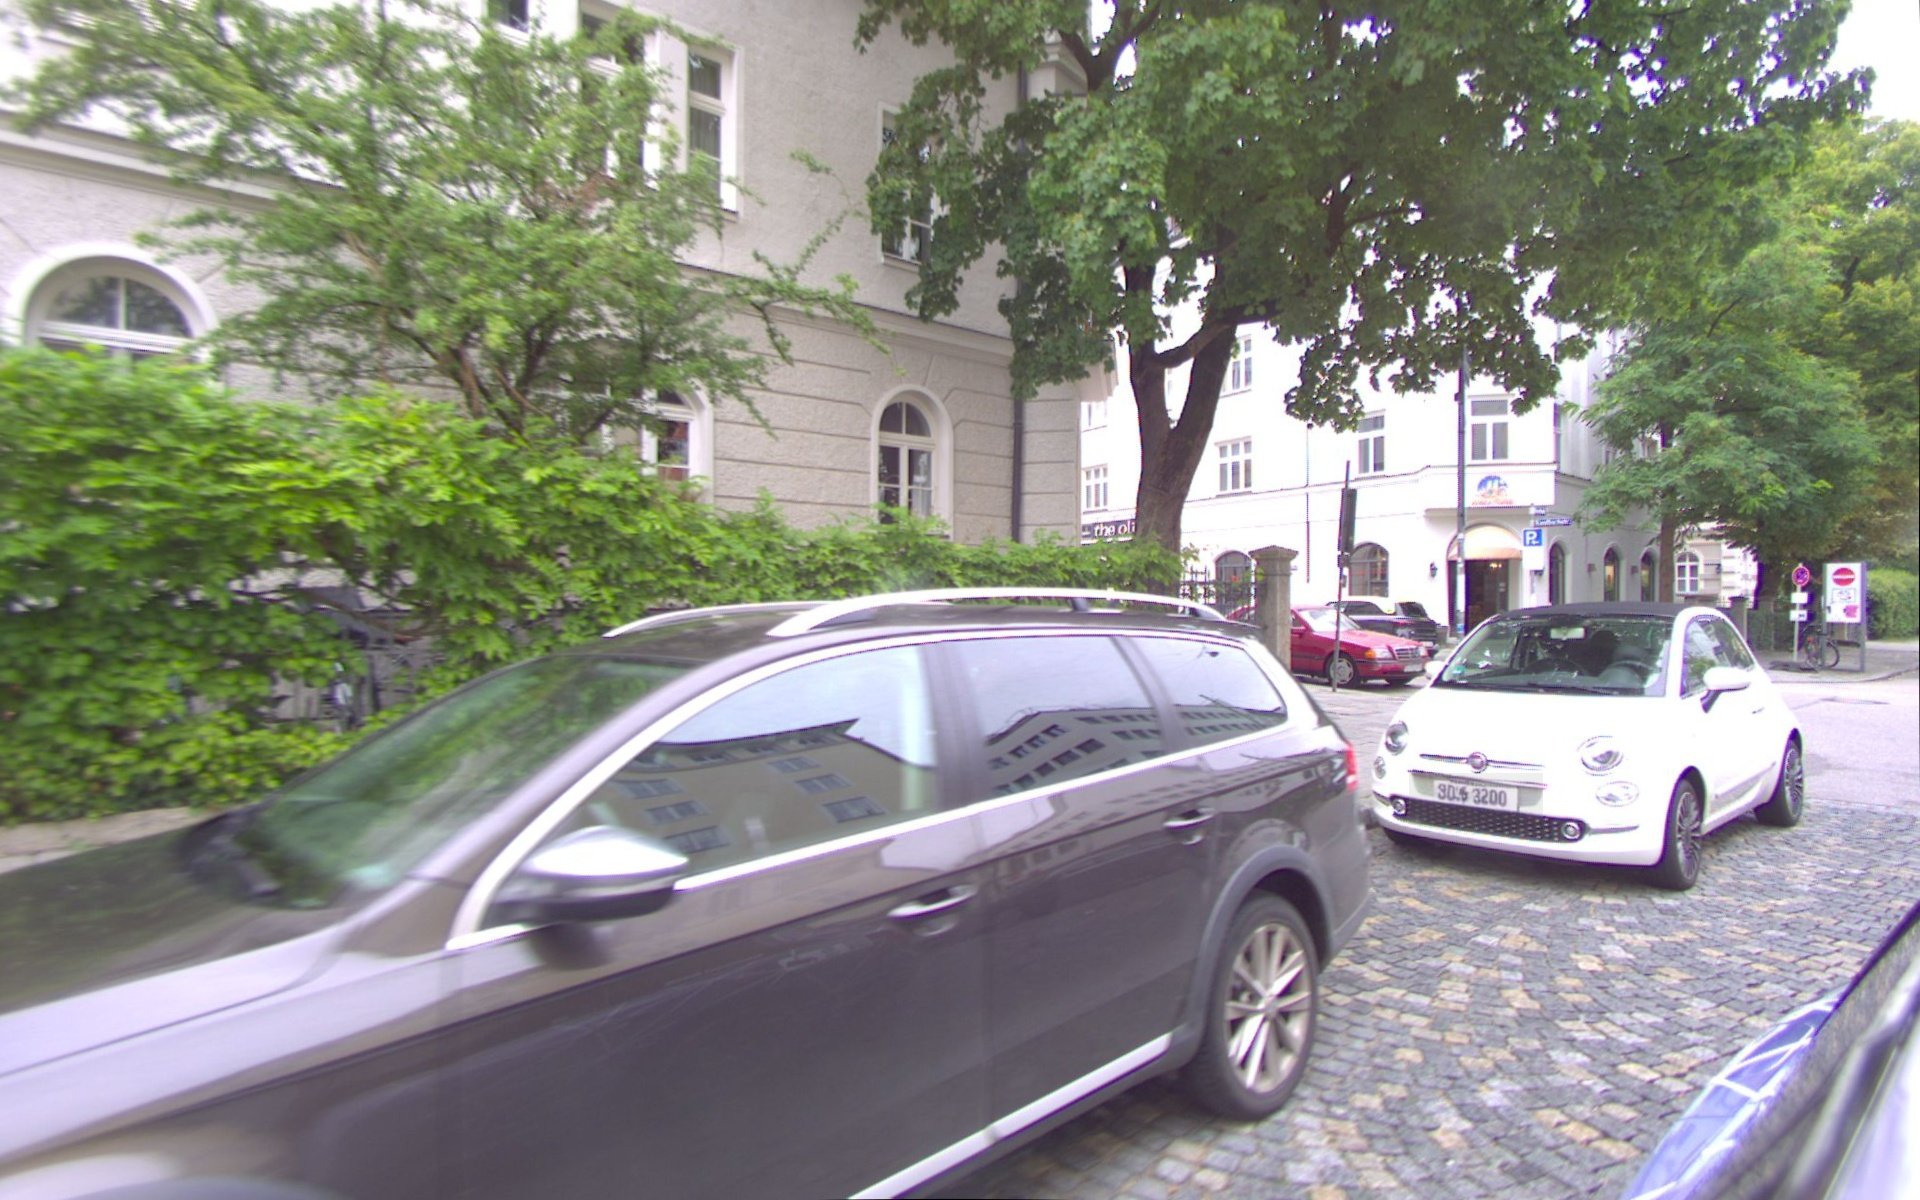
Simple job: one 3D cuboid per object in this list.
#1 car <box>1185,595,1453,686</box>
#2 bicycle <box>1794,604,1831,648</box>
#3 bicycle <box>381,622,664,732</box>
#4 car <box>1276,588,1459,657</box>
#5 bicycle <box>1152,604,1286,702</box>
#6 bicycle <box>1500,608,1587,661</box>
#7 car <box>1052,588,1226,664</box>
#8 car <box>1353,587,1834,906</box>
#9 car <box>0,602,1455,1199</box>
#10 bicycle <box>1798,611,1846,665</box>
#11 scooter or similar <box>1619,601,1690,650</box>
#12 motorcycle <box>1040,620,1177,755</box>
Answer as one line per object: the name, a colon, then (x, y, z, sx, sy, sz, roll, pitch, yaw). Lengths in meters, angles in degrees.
car: (6.309, 0.635, 18.317, 1.726, 1.375, 4.485, 1, 1, -32)
bicycle: (25.001, 0.752, 29.671, 1.700, 1.212, 0.429, 0, 5, -40)
bicycle: (-3.771, 0.626, 8.872, 2.231, 0.822, 0.493, 0, 0, -36)
car: (10.278, 0.513, 25.831, 1.867, 1.617, 4.093, 0, 0, -28)
bicycle: (3.354, 0.658, 13.290, 0.551, 1.138, 1.846, 1, 1, -30)
bicycle: (13.680, 0.796, 23.753, 0.725, 1.082, 1.606, -4, 5, -36)
car: (3.868, 0.505, 22.491, 1.536, 1.540, 3.899, 0, 0, -34)
car: (4.206, 0.673, 6.494, 3.727, 1.489, 1.505, 0, 0, -39)
car: (-0.494, 0.783, 2.757, 4.552, 1.440, 1.650, 0, -3, -42)
bicycle: (19.379, 0.838, 22.744, 1.558, 1.161, 0.389, 0, 0, -33)
scooter or similar: (17.906, 0.638, 26.134, 0.396, 1.187, 1.611, 0, 1, -17)
motorcycle: (1.343, 0.742, 9.054, 1.378, 1.104, 0.363, 0, 0, -38)
